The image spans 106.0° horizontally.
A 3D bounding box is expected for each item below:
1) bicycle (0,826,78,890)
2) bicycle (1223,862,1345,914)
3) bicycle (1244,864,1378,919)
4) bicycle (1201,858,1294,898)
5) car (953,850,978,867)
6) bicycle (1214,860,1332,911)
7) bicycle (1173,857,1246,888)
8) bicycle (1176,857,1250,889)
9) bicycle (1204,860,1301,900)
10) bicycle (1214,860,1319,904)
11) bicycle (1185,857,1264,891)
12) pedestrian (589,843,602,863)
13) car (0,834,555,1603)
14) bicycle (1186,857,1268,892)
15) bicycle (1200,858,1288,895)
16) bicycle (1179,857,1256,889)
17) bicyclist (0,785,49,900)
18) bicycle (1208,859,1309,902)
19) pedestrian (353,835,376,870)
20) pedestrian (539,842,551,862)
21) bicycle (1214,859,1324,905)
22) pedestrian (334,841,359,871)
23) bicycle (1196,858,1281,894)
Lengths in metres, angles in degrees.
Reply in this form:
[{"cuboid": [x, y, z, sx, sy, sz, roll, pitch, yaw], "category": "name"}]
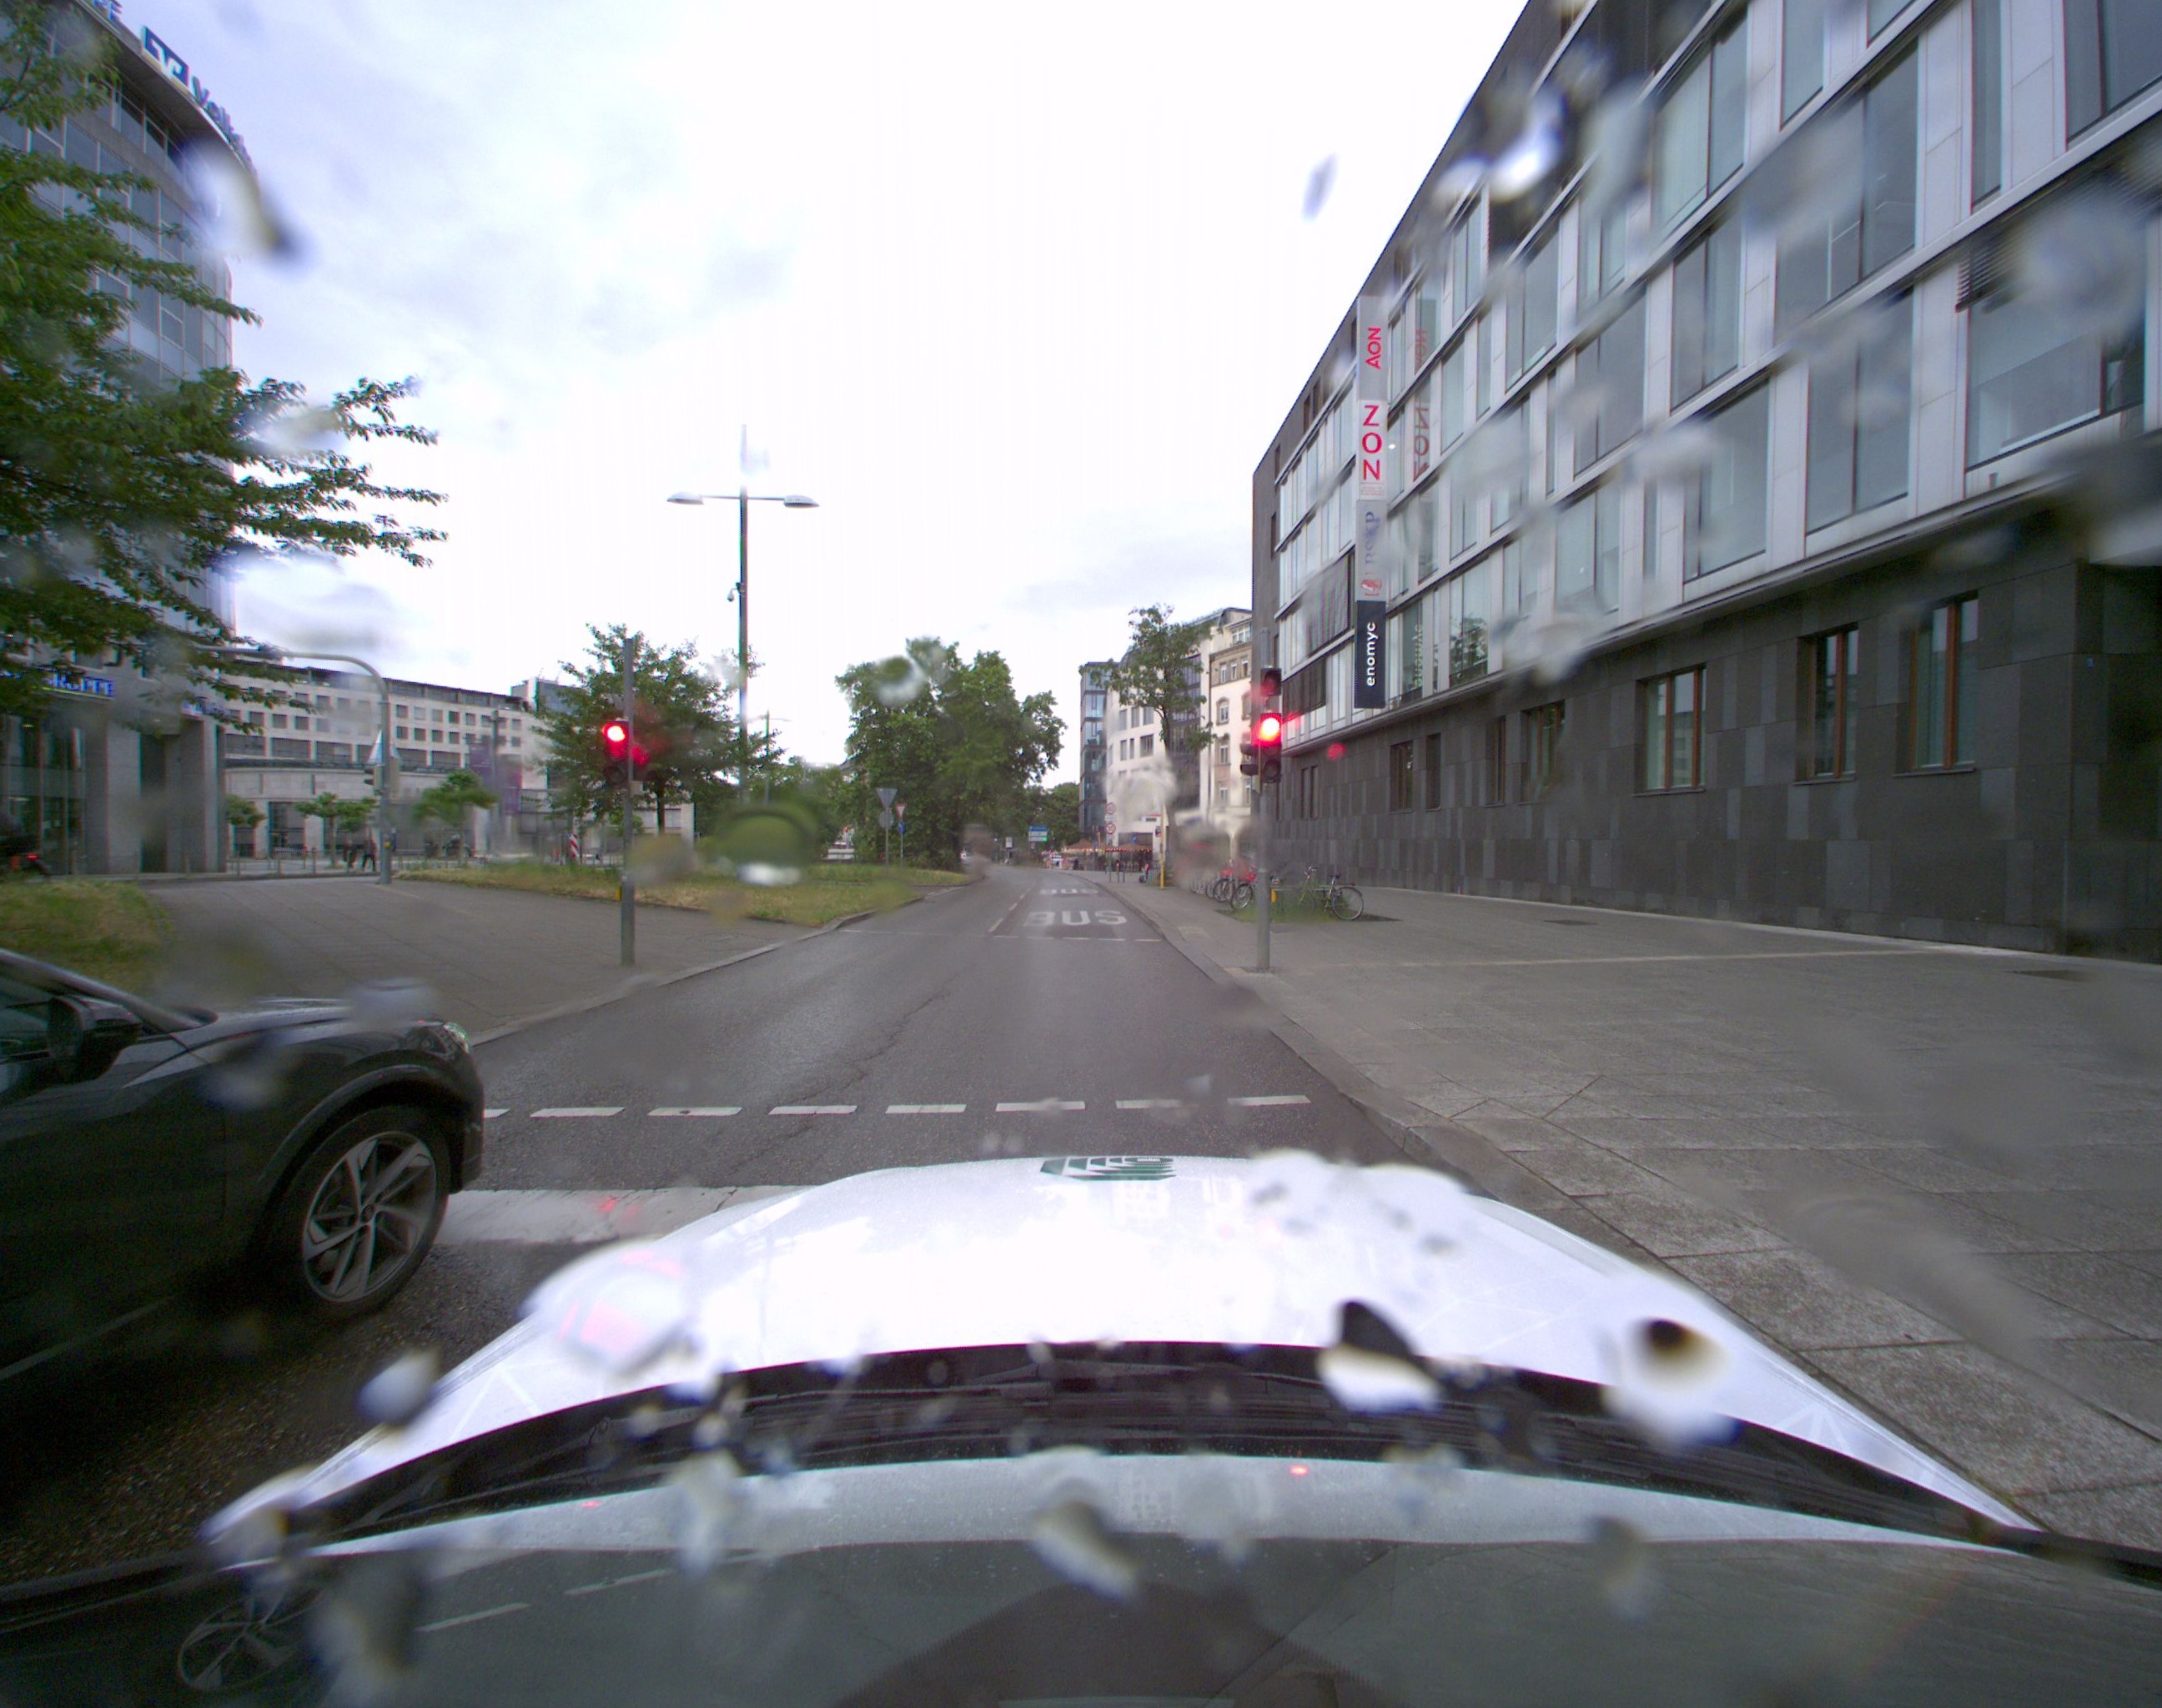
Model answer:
[{"cuboid": [-20.143, 0.053, 14.872, 2.140, 1.145, 0.756, 2, 1, -32], "category": "bicycle"}, {"cuboid": [4.451, 0.737, 17.954, 2.530, 1.087, 0.677, 0, 0, -3], "category": "bicycle"}, {"cuboid": [4.631, 0.745, 16.472, 2.530, 1.057, 0.677, 0, 0, -3], "category": "bicycle"}, {"cuboid": [4.785, 0.684, 23.420, 2.530, 1.087, 0.677, -1, 0, -3], "category": "bicycle"}, {"cuboid": [-13.280, 0.519, 93.452, 2.000, 1.647, 3.973, 4, 0, -20], "category": "car"}, {"cuboid": [4.400, 0.719, 18.760, 2.530, 1.087, 0.677, 2, 0, -3], "category": "bicycle"}, {"cuboid": [4.650, 0.664, 29.553, 2.530, 1.087, 0.627, -1, 0, -3], "category": "bicycle"}, {"cuboid": [4.663, 0.655, 28.830, 2.530, 1.087, 0.677, -1, 0, -3], "category": "bicycle"}, {"cuboid": [4.727, 0.699, 22.512, 2.530, 1.060, 0.677, -1, 0, -3], "category": "bicycle"}, {"cuboid": [4.724, 0.701, 20.834, 2.530, 1.087, 0.677, -1, 0, -3], "category": "bicycle"}, {"cuboid": [4.781, 0.652, 27.190, 2.530, 1.087, 0.677, -1, 0, -3], "category": "bicycle"}, {"cuboid": [-50.999, -0.128, 85.540, 0.785, 2.014, 0.741, 2, 0, 4], "category": "pedestrian"}, {"cuboid": [-3.192, 0.766, 1.386, 1.842, 1.616, 4.251, 1, 1, -1], "category": "car"}, {"cuboid": [4.722, 0.668, 26.438, 2.530, 1.087, 0.677, -1, 0, -3], "category": "bicycle"}, {"cuboid": [4.915, 0.669, 24.615, 2.530, 1.087, 0.677, -1, 0, -3], "category": "bicycle"}, {"cuboid": [4.685, 0.642, 28.082, 2.530, 1.087, 0.677, -1, 0, -3], "category": "bicycle"}, {"cuboid": [-20.006, -0.236, 14.936, 1.088, 2.082, 0.756, 2, 1, -31], "category": "bicyclist"}, {"cuboid": [4.693, 0.697, 21.646, 2.530, 1.087, 0.677, -1, 0, -3], "category": "bicycle"}, {"cuboid": [-37.169, -0.073, 42.260, 0.622, 1.763, 0.720, -2, 0, -21], "category": "pedestrian"}, {"cuboid": [-55.048, -0.252, 83.597, 0.790, 2.014, 0.736, 2, 0, -16], "category": "pedestrian"}, {"cuboid": [4.598, 0.681, 19.982, 2.530, 1.087, 0.677, -1, 0, -3], "category": "bicycle"}, {"cuboid": [-37.977, 0.109, 42.102, 0.731, 1.516, 0.686, -2, 0, -25], "category": "pedestrian"}, {"cuboid": [4.935, 0.668, 25.593, 2.530, 1.087, 0.677, -1, 0, -3], "category": "bicycle"}]
